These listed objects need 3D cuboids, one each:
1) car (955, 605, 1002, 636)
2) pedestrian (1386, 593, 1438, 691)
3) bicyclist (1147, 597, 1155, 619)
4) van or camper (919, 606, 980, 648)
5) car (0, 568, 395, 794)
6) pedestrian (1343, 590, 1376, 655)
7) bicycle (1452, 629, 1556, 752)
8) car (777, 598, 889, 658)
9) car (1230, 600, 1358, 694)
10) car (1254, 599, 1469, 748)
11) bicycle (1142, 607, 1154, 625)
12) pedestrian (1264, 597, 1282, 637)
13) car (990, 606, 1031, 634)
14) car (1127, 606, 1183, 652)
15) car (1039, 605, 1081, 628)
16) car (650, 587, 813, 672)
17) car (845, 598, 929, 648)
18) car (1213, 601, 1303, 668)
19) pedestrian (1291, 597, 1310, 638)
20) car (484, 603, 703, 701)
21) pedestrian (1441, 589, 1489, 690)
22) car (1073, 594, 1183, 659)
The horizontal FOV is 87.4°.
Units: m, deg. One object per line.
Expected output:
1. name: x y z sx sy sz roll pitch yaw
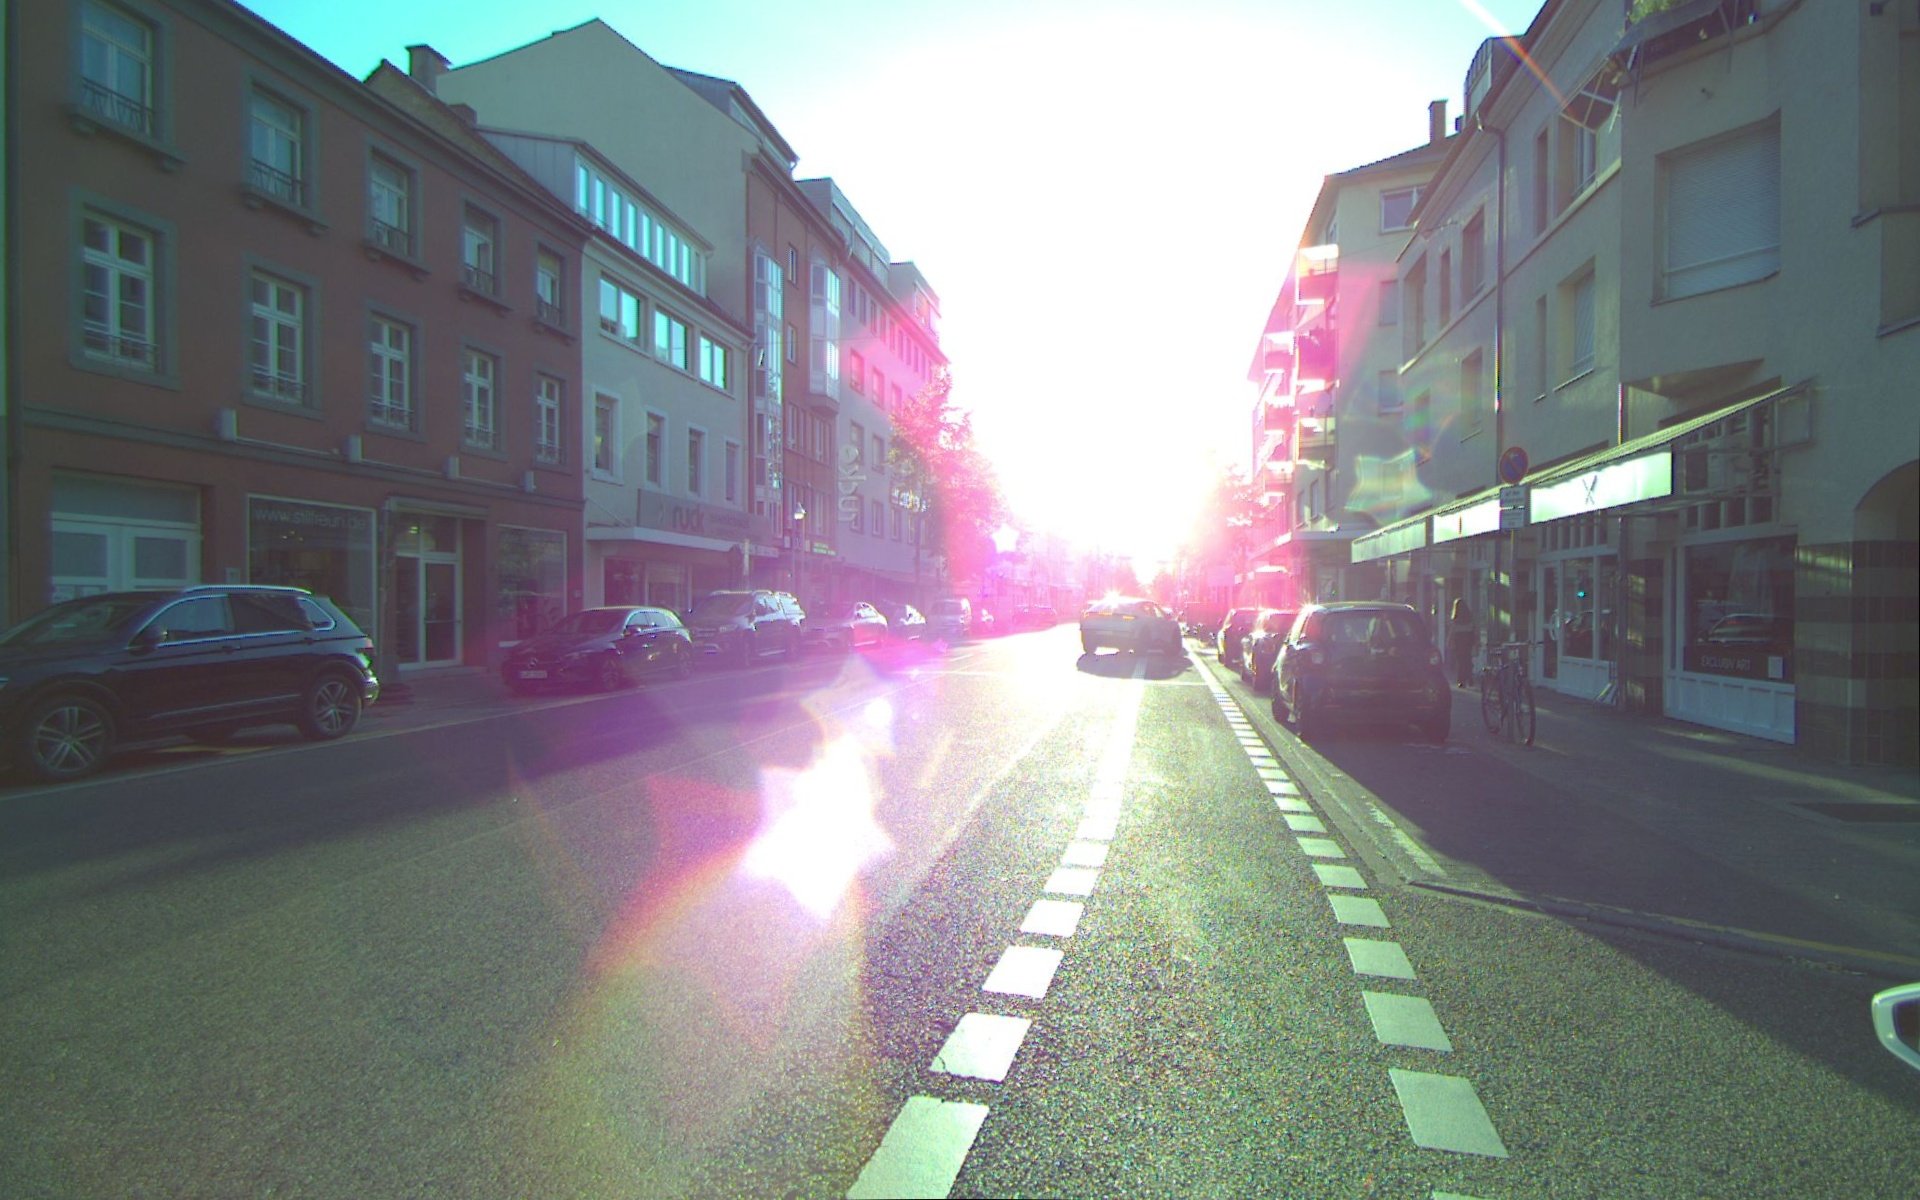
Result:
1. car: 0.979 1.047 51.856 1.661 1.523 3.789 0 0 13
2. pedestrian: 8.115 0.737 18.081 0.619 1.722 1.041 0 0 11
3. bicyclist: 13.780 0.564 72.517 0.537 1.602 0.803 0 0 14
4. van or camper: -0.409 1.194 46.041 1.757 1.797 4.560 0 0 13
5. car: -7.857 0.655 9.625 1.763 1.721 4.463 -2 0 11
6. pedestrian: 10.906 0.610 27.453 0.706 1.757 0.738 -1 0 11
7. bicycle: 6.148 0.971 11.441 0.549 1.222 1.978 0 0 14
8. car: -3.768 0.795 30.770 1.959 1.677 4.630 -1 0 12
9. car: 6.281 0.810 19.276 1.758 1.601 3.789 0 0 9
10. car: 4.954 0.796 12.956 1.758 1.601 3.969 0 0 9
11. bicycle: 13.550 1.136 72.311 0.652 1.259 2.131 2 0 14
12. pedestrian: 14.378 0.776 46.173 0.706 1.815 0.667 -1 0 12
13. car: 2.859 1.106 56.610 1.661 1.523 3.789 0 0 13
14. car: 7.373 1.044 38.122 1.959 1.626 4.407 1 0 10
15. car: 7.038 1.147 70.904 1.657 1.473 3.461 2 0 -19
16. car: -5.338 0.658 24.366 1.959 1.801 5.322 -1 0 9
17. car: -2.556 0.793 36.467 1.959 1.677 4.483 0 0 11
18. car: 7.588 0.819 25.903 1.758 1.601 3.789 0 0 9
19. pedestrian: 15.267 0.788 45.053 0.706 1.815 0.667 -1 0 12
20. car: -6.425 0.841 18.205 1.656 1.508 4.413 -3 -1 11
21. pedestrian: 8.908 0.684 17.742 0.550 1.722 0.832 0 0 11
22. car: 5.024 0.739 29.518 1.845 1.720 4.314 2 0 29
